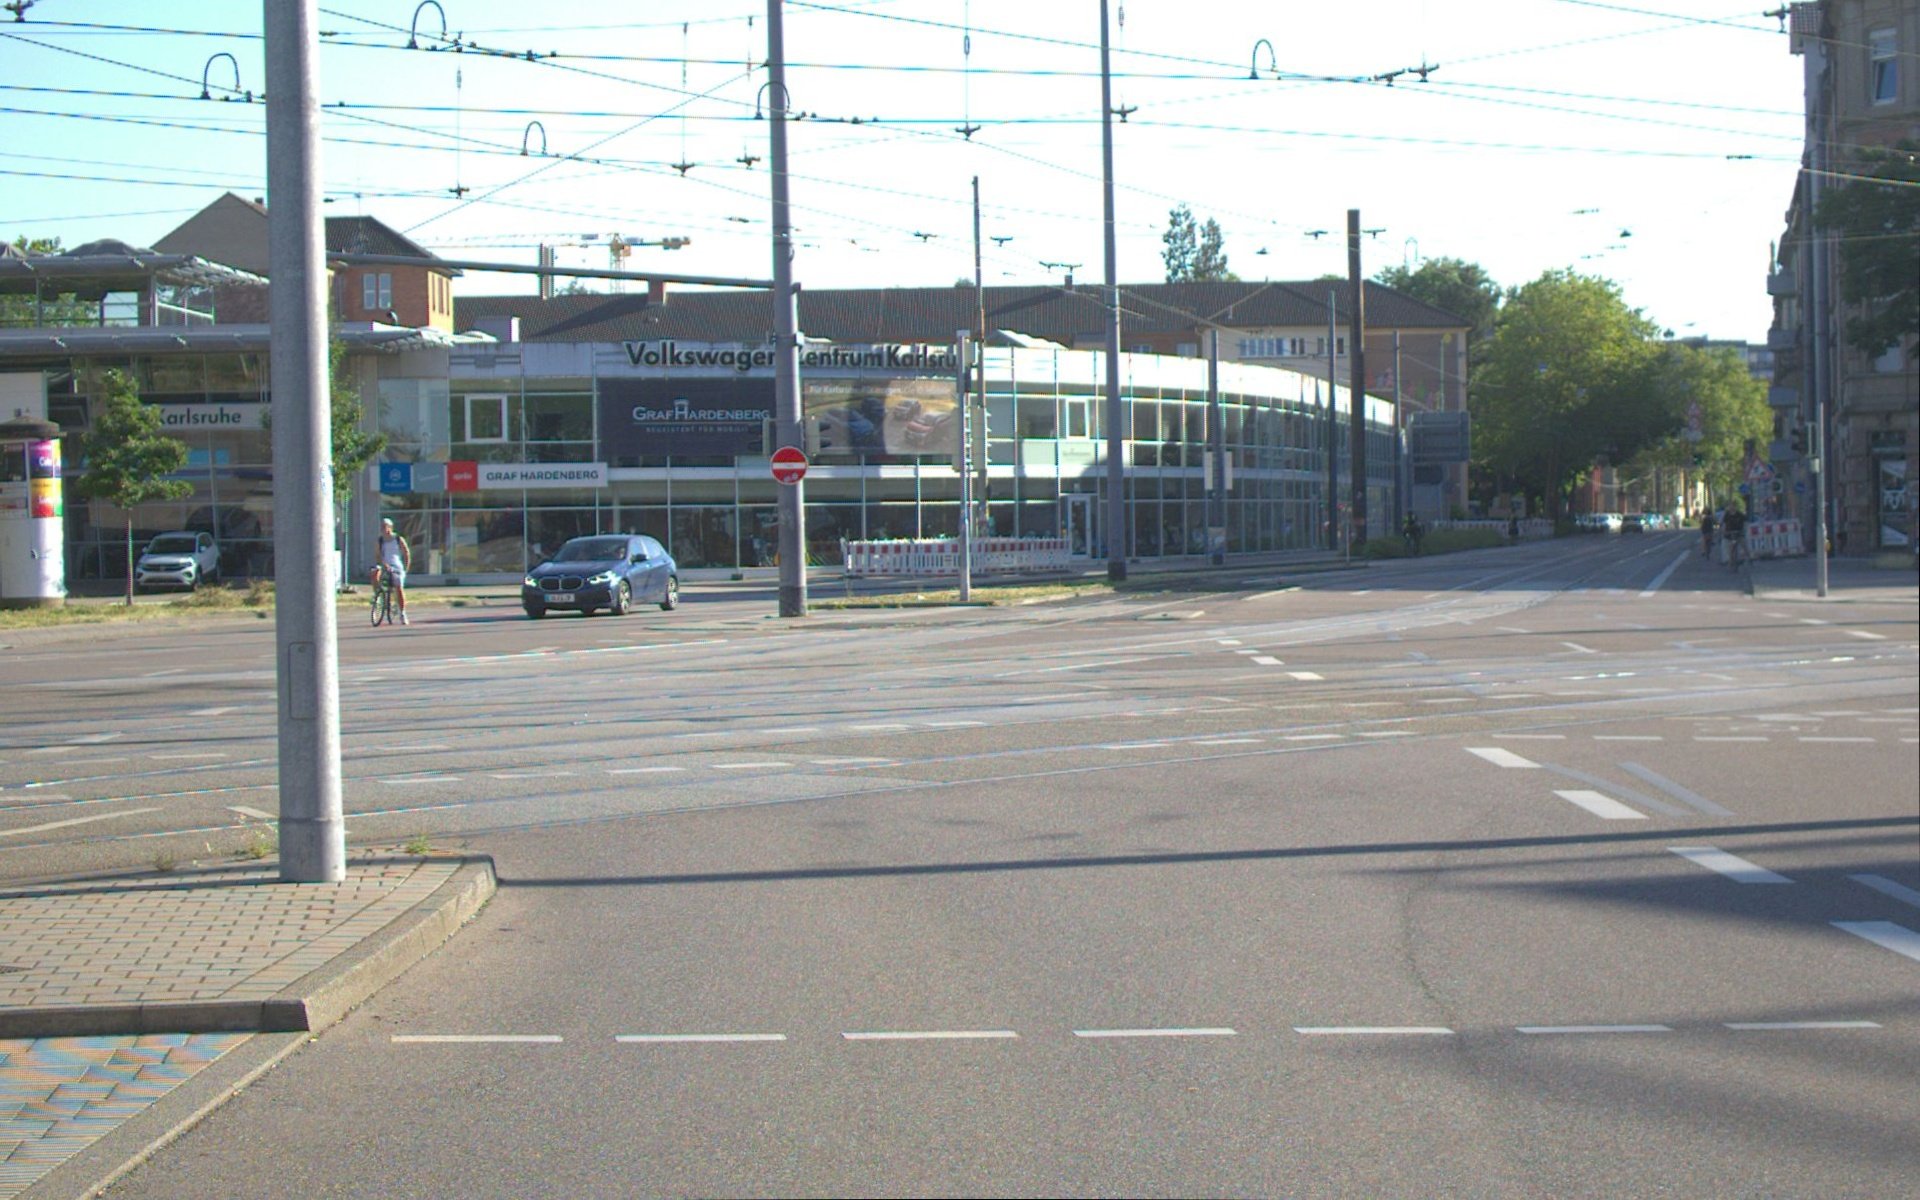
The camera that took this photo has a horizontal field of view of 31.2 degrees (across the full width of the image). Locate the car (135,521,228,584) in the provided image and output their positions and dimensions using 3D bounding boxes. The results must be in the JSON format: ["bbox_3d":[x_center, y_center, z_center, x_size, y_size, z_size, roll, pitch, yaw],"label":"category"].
[{"bbox_3d":[-22.466,-1.373,99.358,1.993,1.744,4.001,1,1,-4],"label":"car"}]

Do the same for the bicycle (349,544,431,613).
[{"bbox_3d":[-9.878,-0.373,59.615,0.613,1.185,1.867,1,1,17],"label":"bicycle"}]

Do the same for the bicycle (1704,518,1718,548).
[{"bbox_3d":[23.987,-2.135,109.832,0.410,0.938,1.844,1,1,12],"label":"bicycle"}]

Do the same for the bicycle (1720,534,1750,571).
[{"bbox_3d":[19.774,-1.208,87.687,0.658,0.949,1.599,1,1,15],"label":"bicycle"}]

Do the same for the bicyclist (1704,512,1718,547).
[{"bbox_3d":[23.964,-2.246,109.718,0.408,1.112,0.399,1,0,11],"label":"bicyclist"}]

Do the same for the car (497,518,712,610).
[{"bbox_3d":[-6.338,-0.636,61.670,1.996,1.579,3.994,1,1,27],"label":"car"}]

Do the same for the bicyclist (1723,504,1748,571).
[{"bbox_3d":[19.760,-1.587,87.575,0.518,1.695,0.516,1,0,3],"label":"bicyclist"}]

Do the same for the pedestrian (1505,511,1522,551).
[{"bbox_3d":[28.094,-3.503,174.402,0.716,2.007,0.758,1,0,1],"label":"pedestrian"}]

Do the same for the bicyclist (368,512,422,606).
[{"bbox_3d":[-9.819,-0.713,59.792,0.598,1.610,0.822,1,0,18],"label":"bicyclist"}]
